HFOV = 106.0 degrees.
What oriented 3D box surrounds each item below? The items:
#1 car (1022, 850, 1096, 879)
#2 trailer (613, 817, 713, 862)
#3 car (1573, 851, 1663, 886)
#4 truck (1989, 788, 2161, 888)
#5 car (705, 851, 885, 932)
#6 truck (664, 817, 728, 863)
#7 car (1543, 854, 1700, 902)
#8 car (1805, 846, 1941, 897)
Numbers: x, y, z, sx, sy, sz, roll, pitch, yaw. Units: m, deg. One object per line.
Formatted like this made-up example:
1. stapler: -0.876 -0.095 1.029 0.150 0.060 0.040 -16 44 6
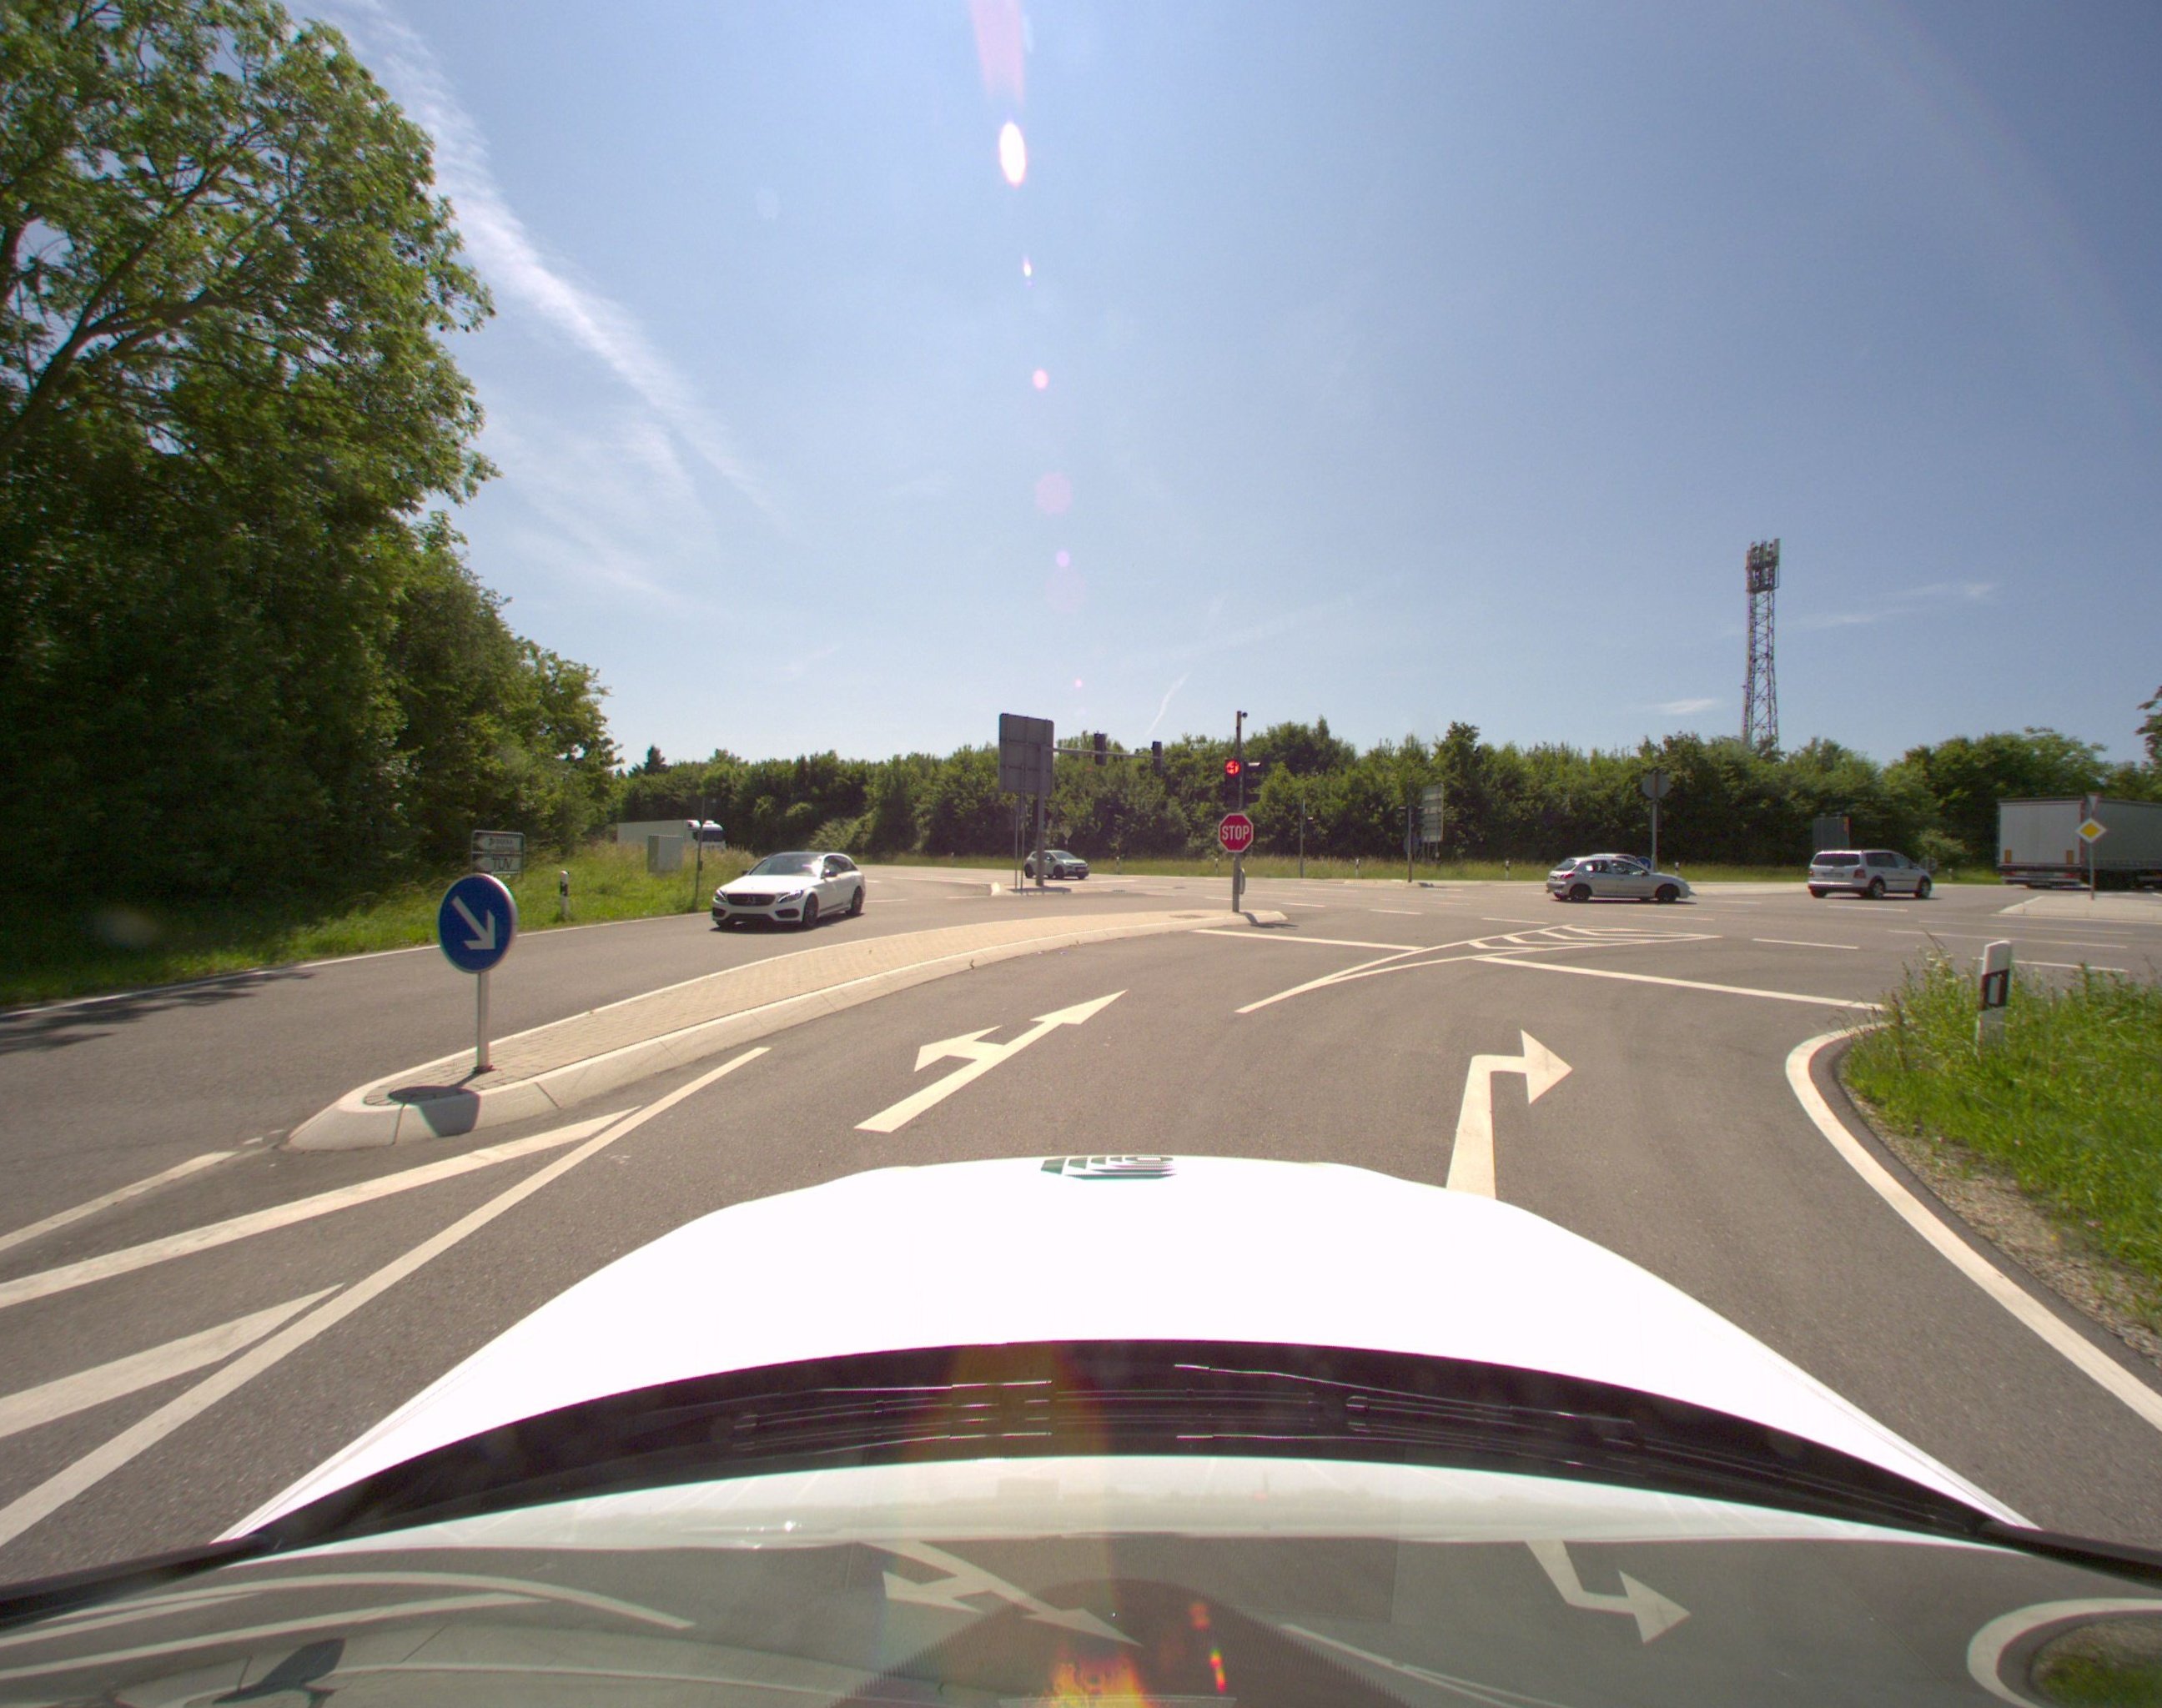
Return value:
1. car: -1.195 0.516 42.725 1.744 1.404 3.939 -2 1 -43
2. trailer: -40.286 -1.351 78.069 13.659 4.036 2.678 1 1 36
3. car: 22.949 0.597 34.807 3.534 1.370 1.558 -1 1 -23
4. truck: 49.564 -0.618 39.147 16.710 4.172 3.110 1 0 -25
5. car: -5.890 0.680 17.598 1.797 1.412 5.337 2 0 2
6. truck: -35.129 -1.289 74.268 6.200 4.036 2.678 0 1 36
7. car: 16.955 0.714 25.717 3.744 1.413 1.825 0 1 13
8. car: 27.211 0.558 27.985 4.061 1.625 1.806 -1 0 -21
